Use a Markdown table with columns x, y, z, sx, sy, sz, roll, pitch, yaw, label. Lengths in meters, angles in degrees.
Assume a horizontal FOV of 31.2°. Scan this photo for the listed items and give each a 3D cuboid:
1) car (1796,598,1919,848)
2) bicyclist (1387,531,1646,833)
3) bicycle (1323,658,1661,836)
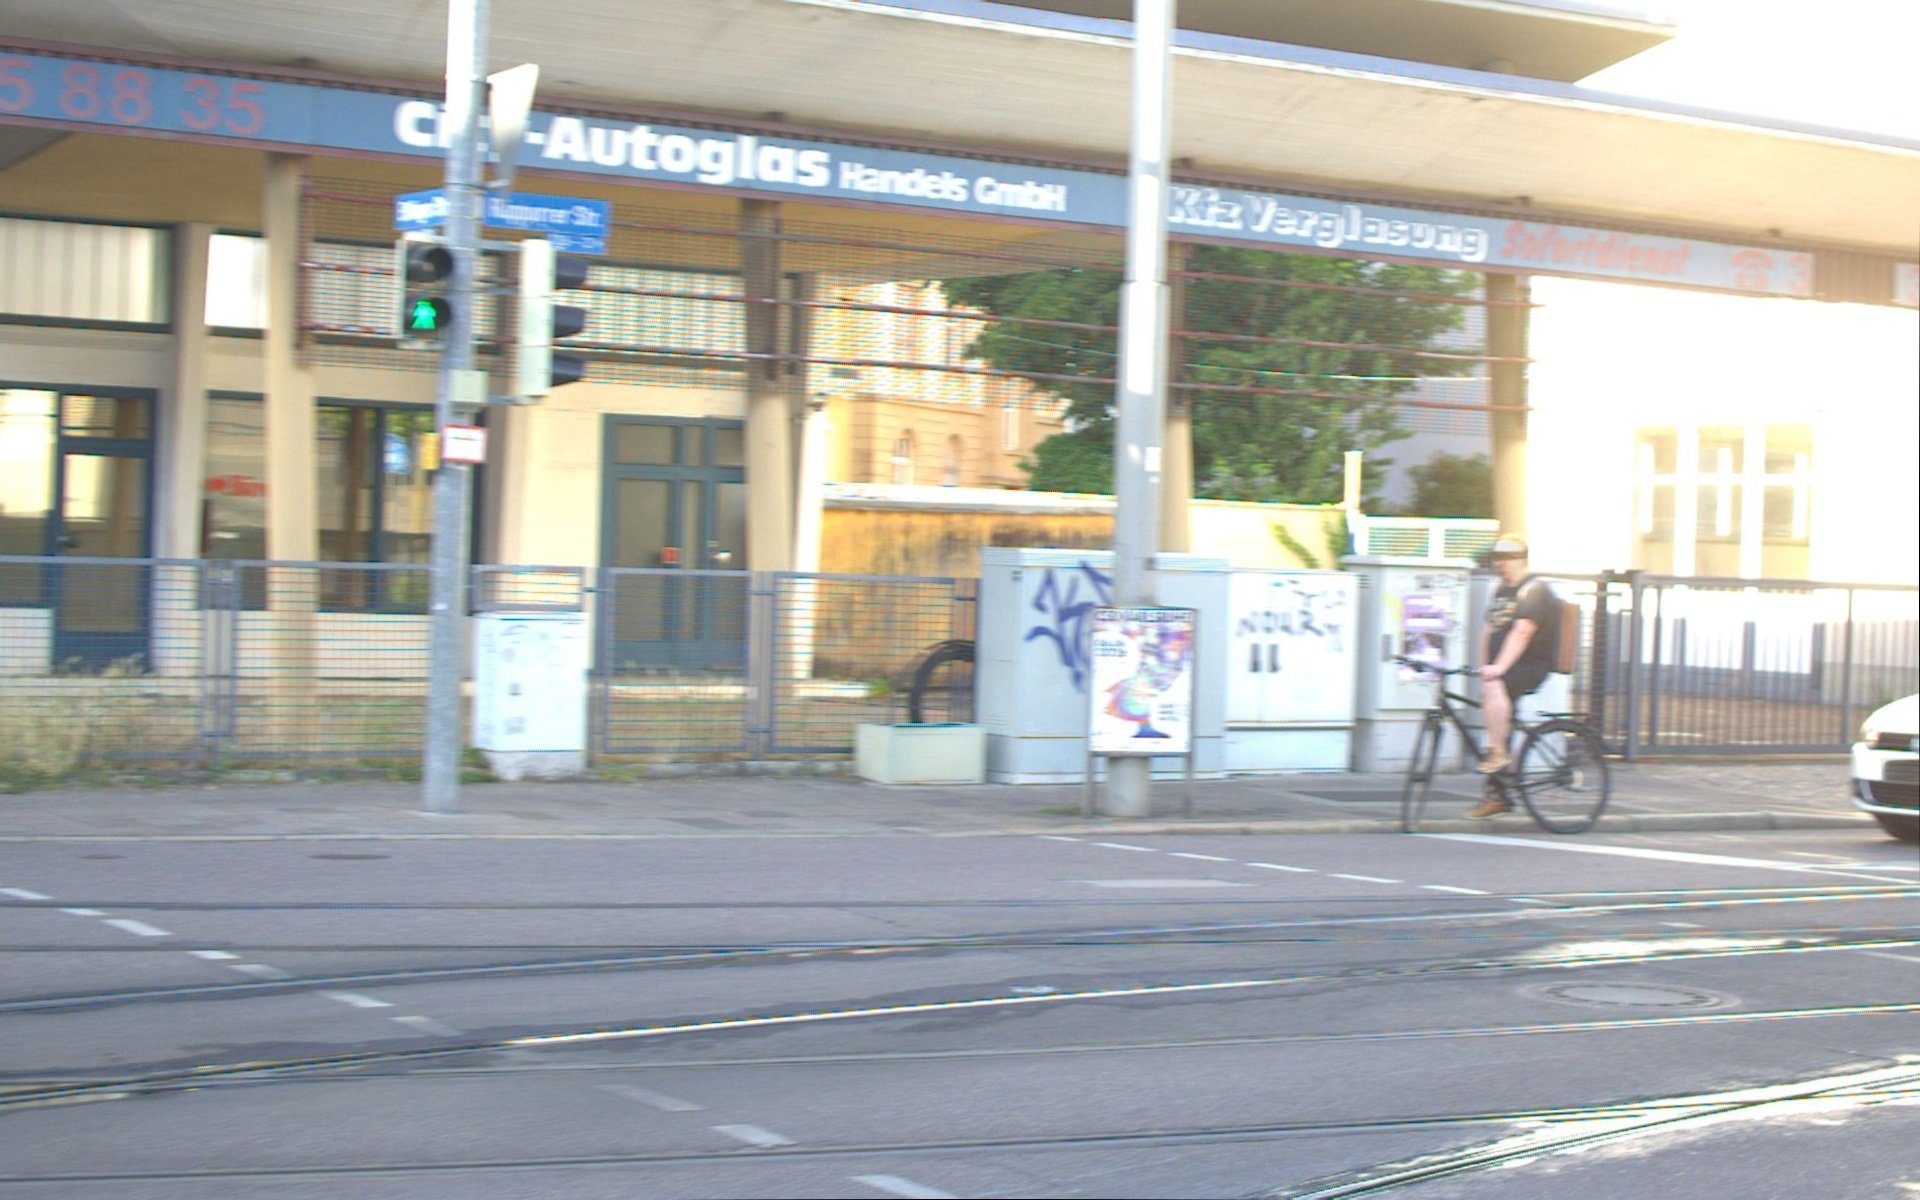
| x | y | z | sx | sy | sz | roll | pitch | yaw | label |
| --- | --- | --- | --- | --- | --- | --- | --- | --- | --- |
| 7.323 | 0.763 | 21.214 | 4.176 | 1.453 | 1.796 | 1 | 0 | -33 | car |
| 3.417 | 0.488 | 21.096 | 1.249 | 1.781 | 0.911 | 1 | 1 | -38 | bicyclist |
| 3.261 | 0.885 | 20.995 | 2.041 | 1.014 | 0.727 | 1 | 1 | -33 | bicycle |
